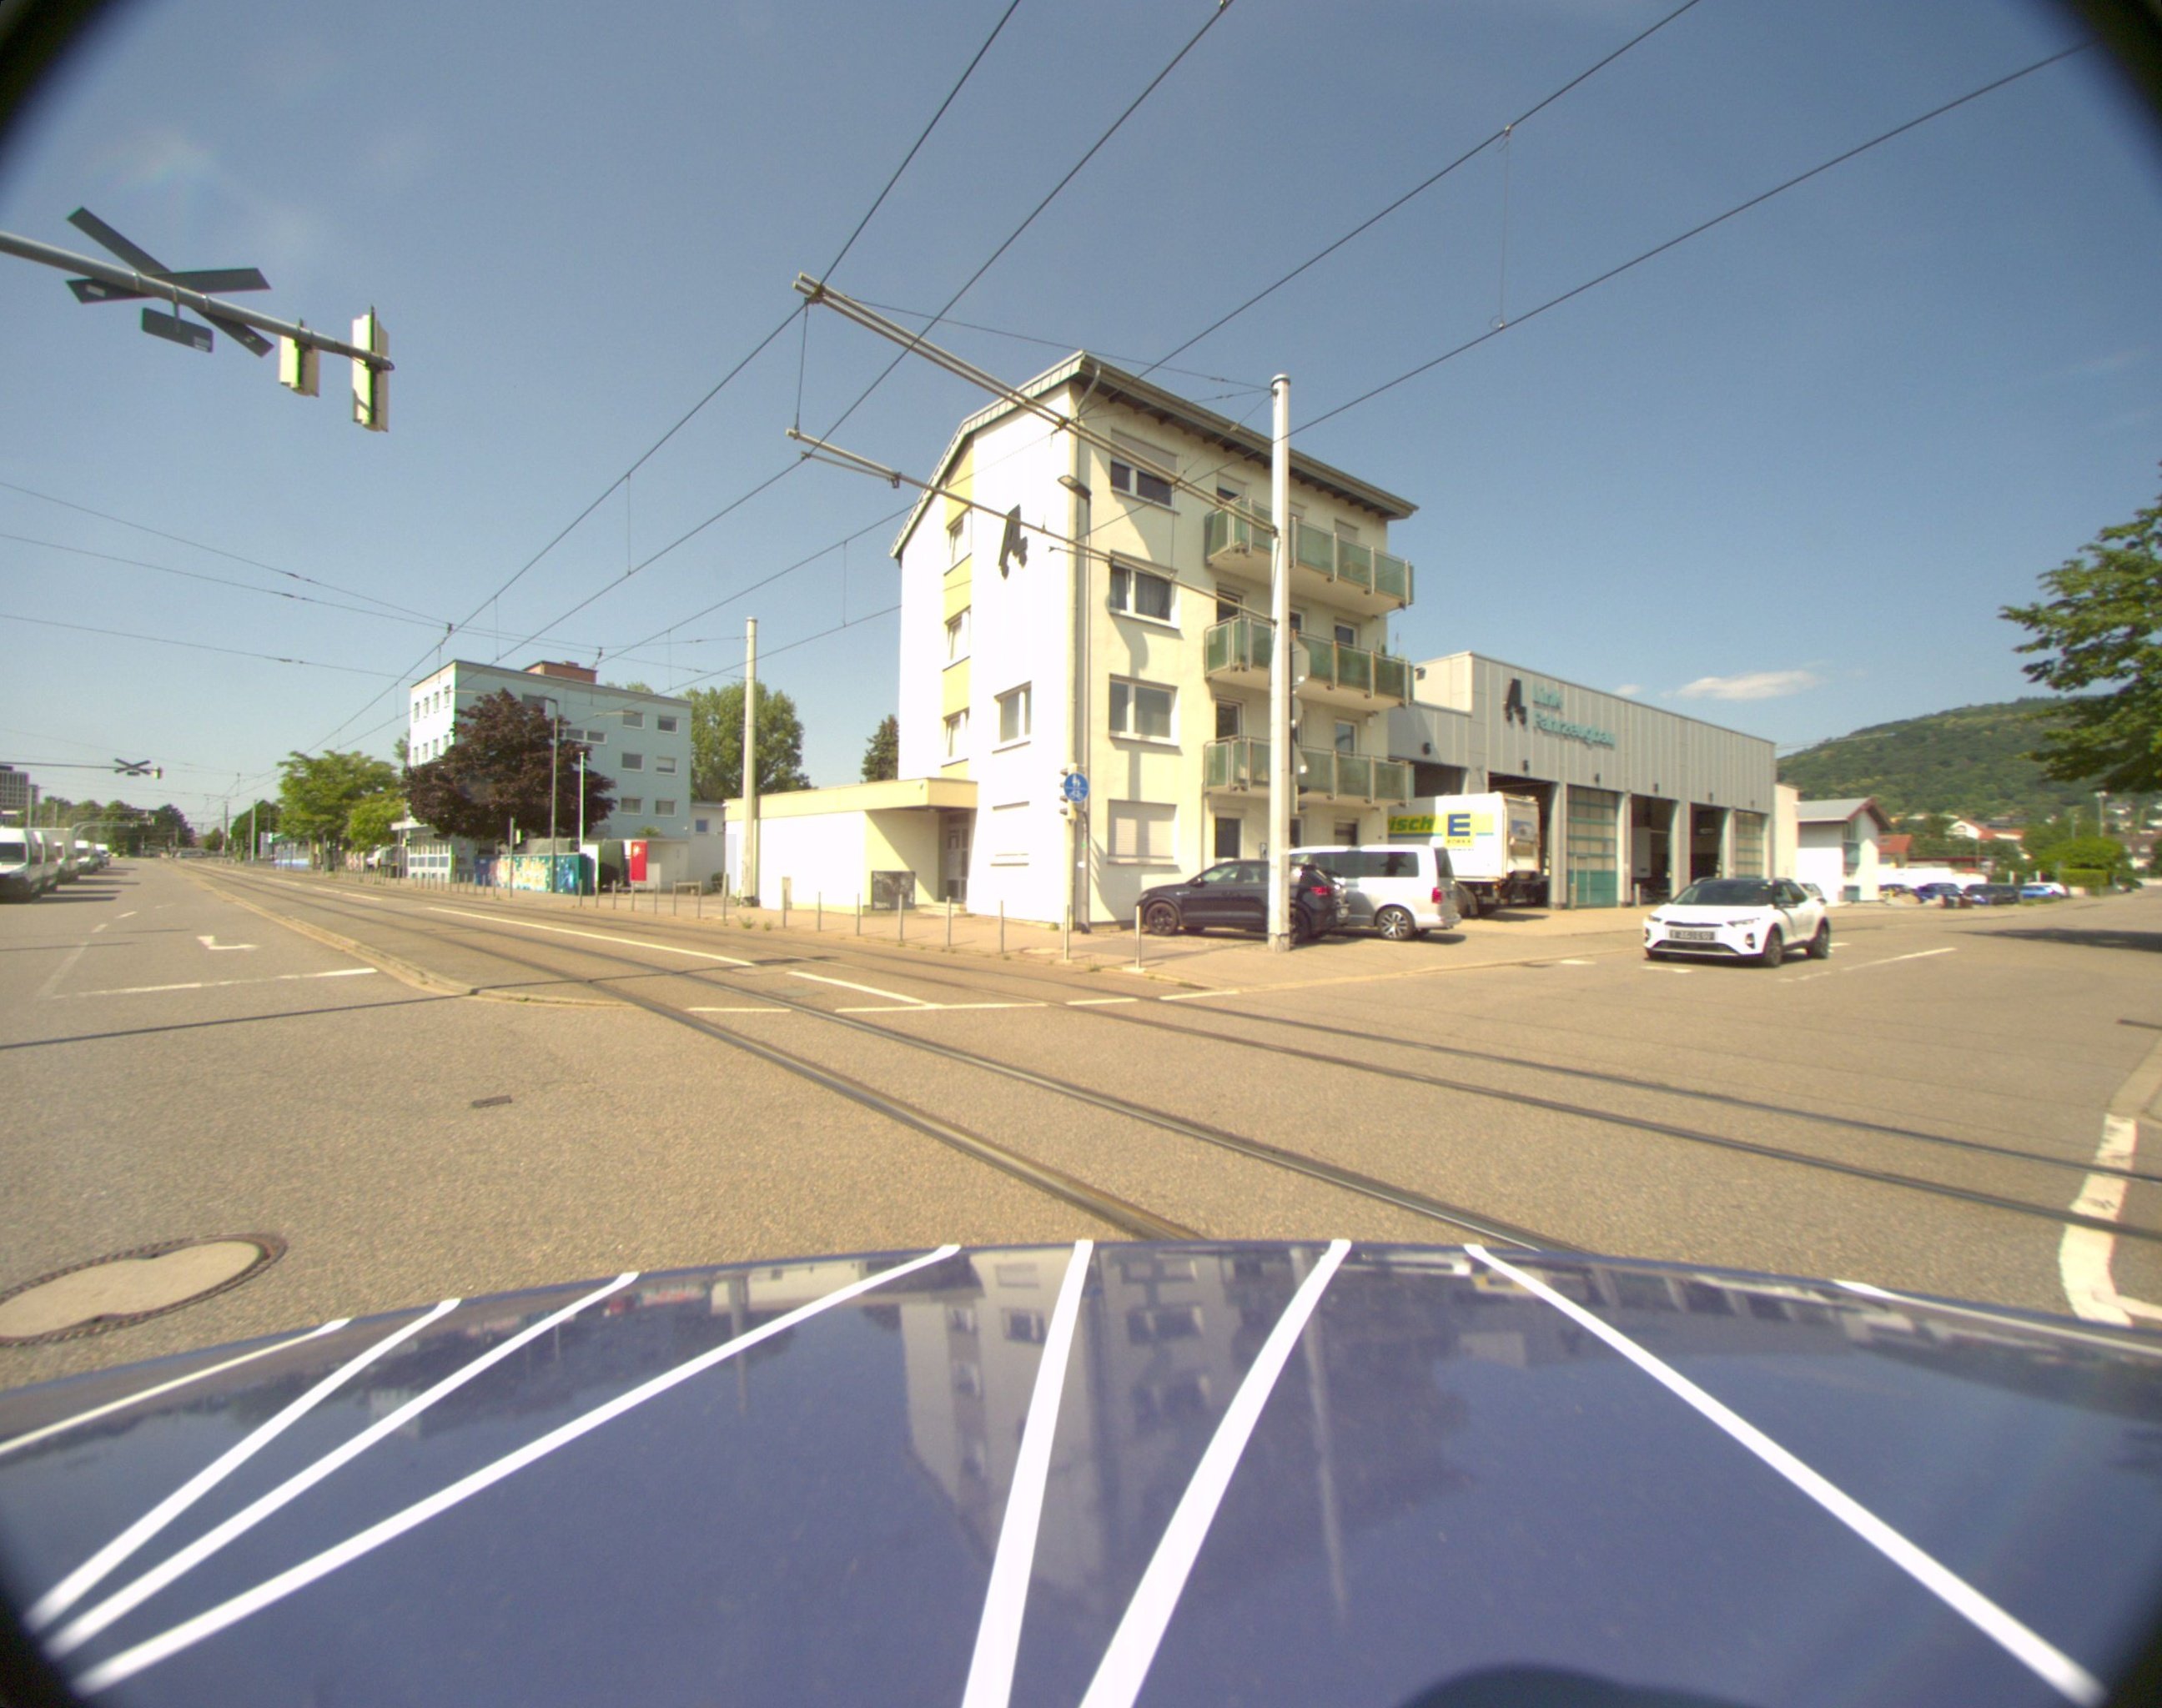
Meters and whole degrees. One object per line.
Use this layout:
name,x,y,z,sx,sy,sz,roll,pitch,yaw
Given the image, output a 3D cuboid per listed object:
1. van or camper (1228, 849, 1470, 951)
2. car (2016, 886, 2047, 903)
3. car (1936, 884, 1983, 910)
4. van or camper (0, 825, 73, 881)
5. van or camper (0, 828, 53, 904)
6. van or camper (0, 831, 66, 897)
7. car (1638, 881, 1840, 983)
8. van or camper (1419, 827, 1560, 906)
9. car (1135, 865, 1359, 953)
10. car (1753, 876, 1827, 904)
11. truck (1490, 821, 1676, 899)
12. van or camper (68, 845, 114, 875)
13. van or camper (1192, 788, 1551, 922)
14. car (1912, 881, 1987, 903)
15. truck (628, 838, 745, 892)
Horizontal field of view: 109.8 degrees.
van or camper,5.761,0.892,16.572,4.542,1.896,2.005,1,-1,37
car,82.312,3.511,65.795,3.193,1.370,1.450,1,-3,-36
car,49.029,2.372,42.380,3.193,1.371,1.449,1,-1,-36
van or camper,-55.564,-0.035,40.217,7.095,2.770,2.530,0,-1,38
van or camper,-37.925,0.394,26.593,5.851,2.519,2.049,0,0,39
van or camper,-43.700,0.389,31.317,5.565,2.519,2.049,0,-1,39
car,12.037,1.299,13.834,4.117,1.521,1.733,1,0,-34
van or camper,17.655,0.548,33.075,2.004,3.186,5.046,0,-1,-35
car,3.275,0.994,15.160,3.962,1.512,1.884,0,-1,32
car,40.796,2.063,43.763,2.818,1.524,1.314,1,-2,10
truck,26.352,0.306,40.377,2.629,3.759,7.841,1,0,-32
van or camper,-75.058,0.423,57.578,4.893,2.198,1.962,0,-1,36
van or camper,9.176,-0.059,26.198,2.787,3.671,11.603,1,0,-39
car,56.031,2.436,49.063,1.456,1.332,2.970,1,-1,-32
truck,-20.190,0.551,39.005,2.183,2.611,4.845,0,-1,45
